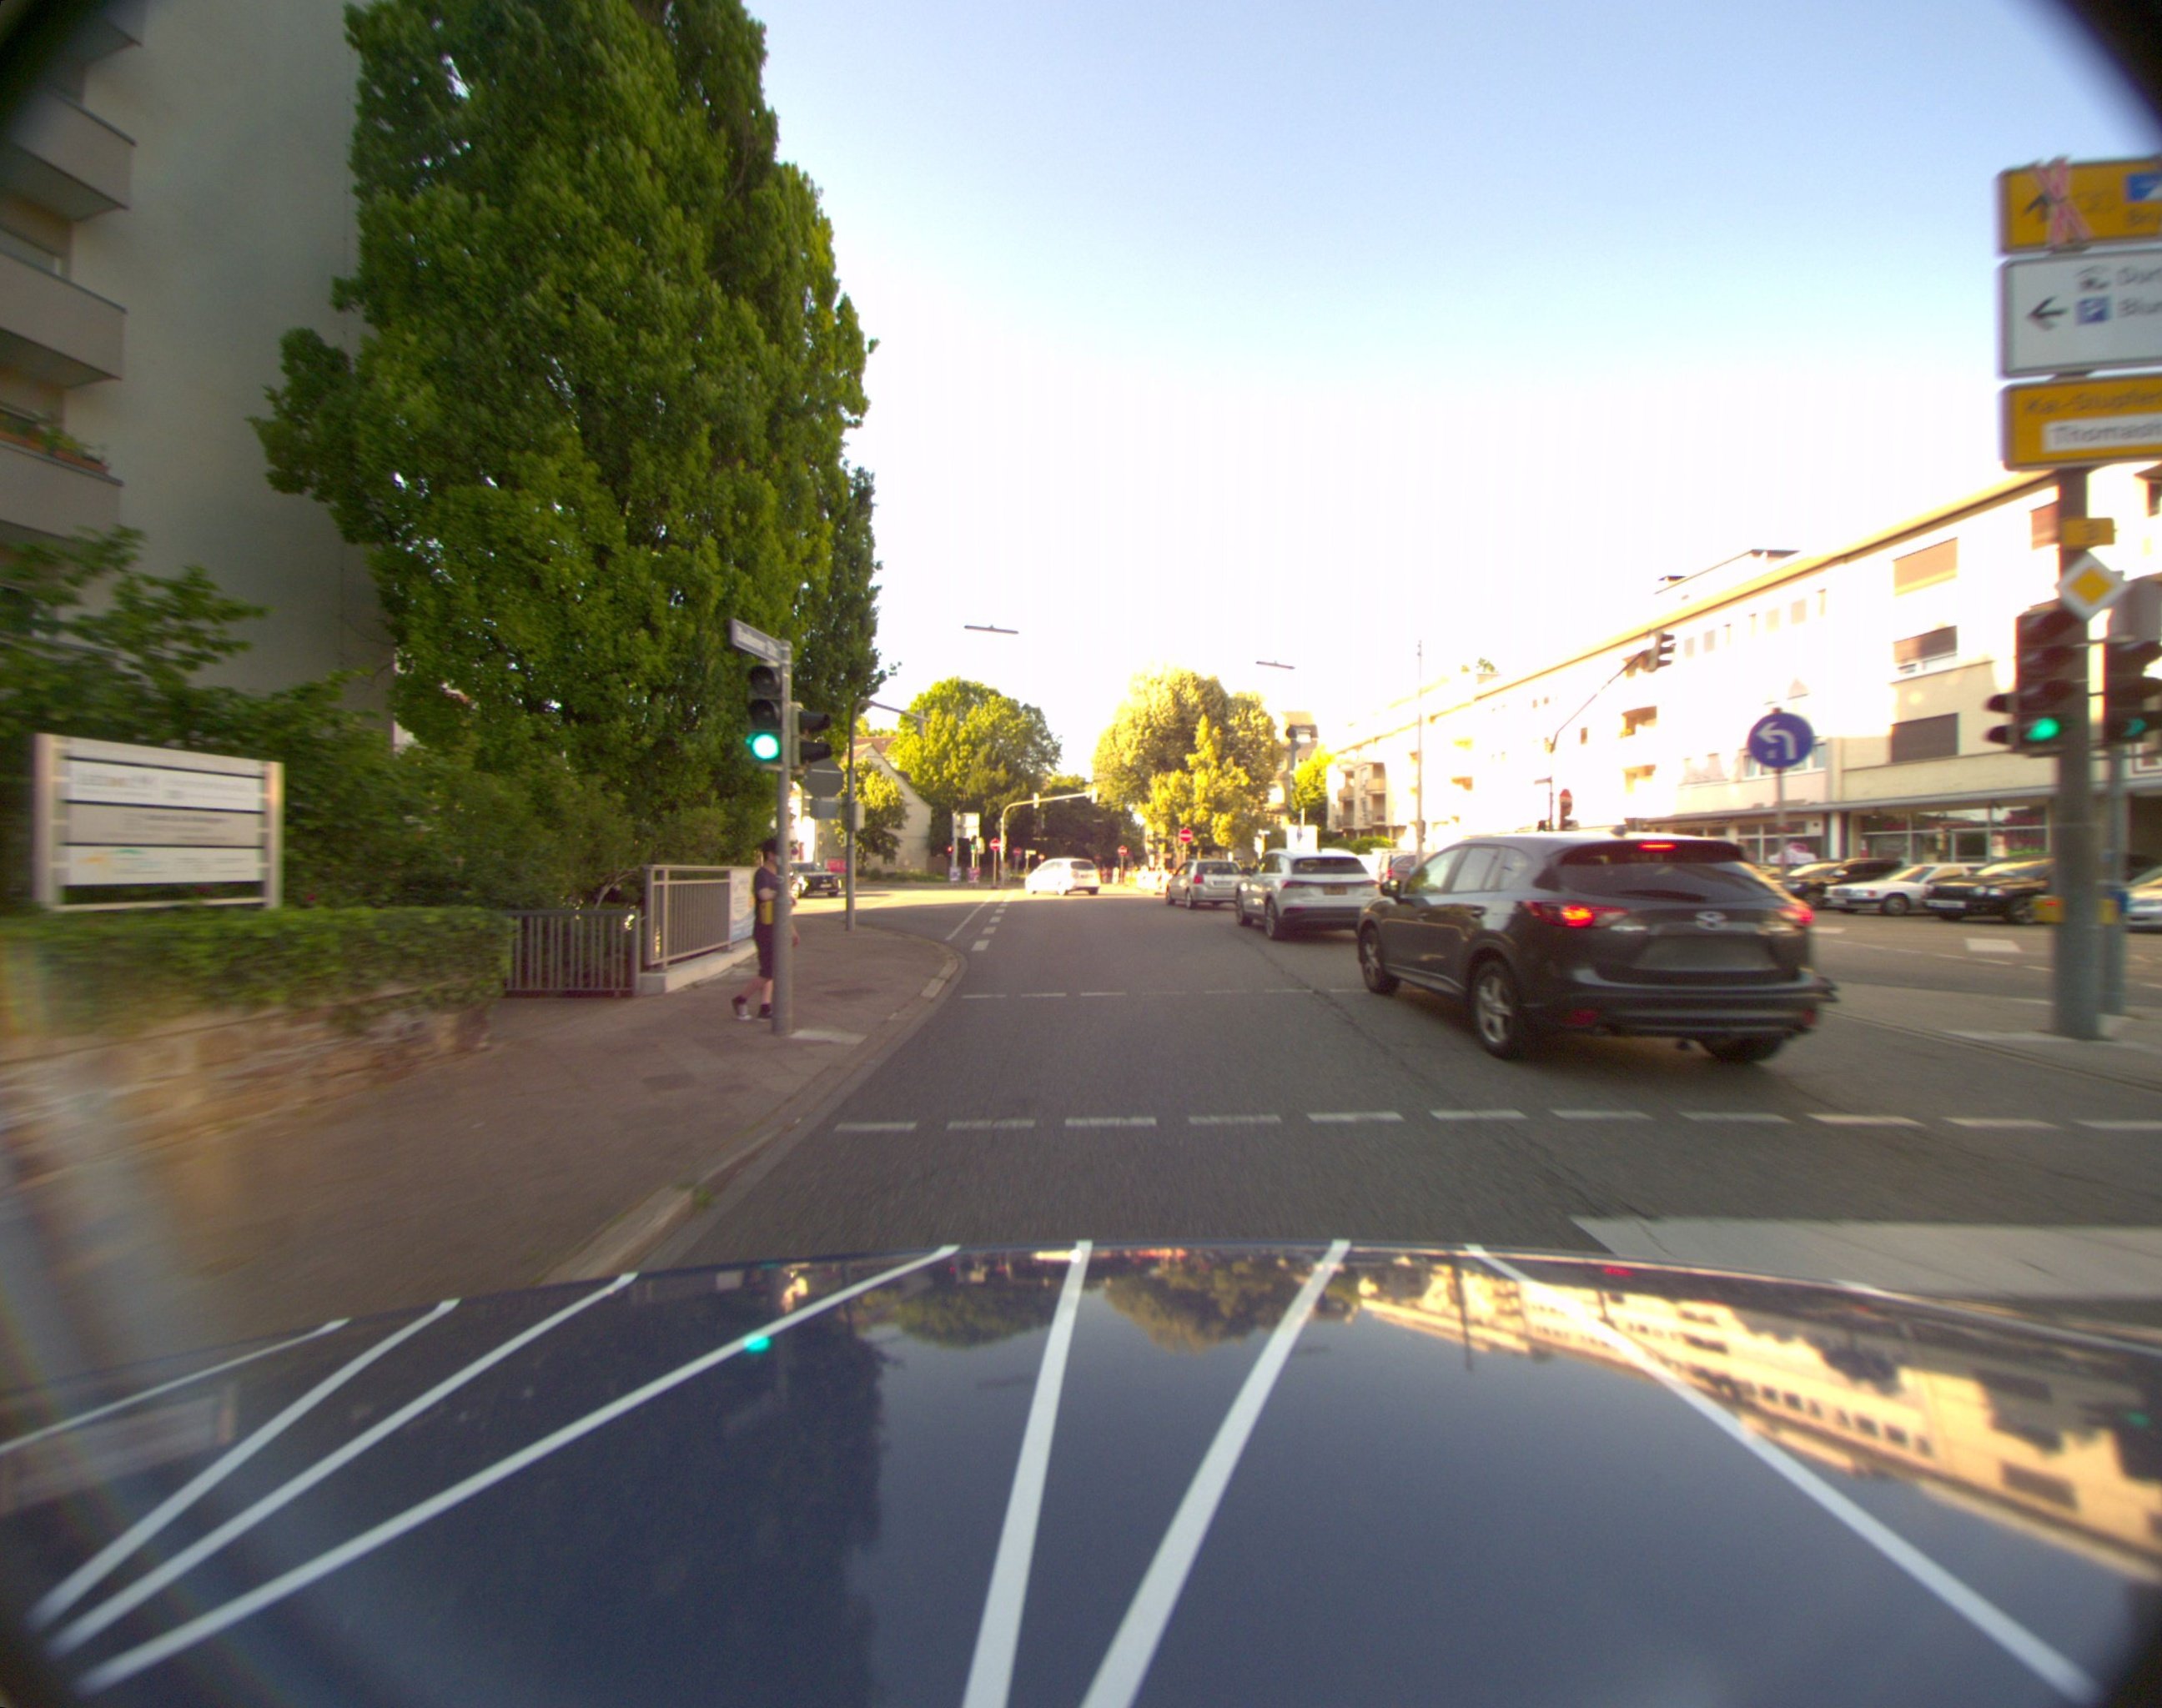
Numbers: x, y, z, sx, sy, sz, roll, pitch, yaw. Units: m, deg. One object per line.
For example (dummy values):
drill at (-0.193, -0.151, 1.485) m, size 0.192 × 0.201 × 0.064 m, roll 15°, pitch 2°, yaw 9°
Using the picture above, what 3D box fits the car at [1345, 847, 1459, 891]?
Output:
car at (14.535, 0.676, 34.631) m, size 4.324 × 1.840 × 2.001 m, roll -1°, pitch -1°, yaw 2°

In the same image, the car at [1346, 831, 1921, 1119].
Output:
car at (3.932, 0.744, 6.544) m, size 1.958 × 1.639 × 4.285 m, roll -1°, pitch -1°, yaw 3°

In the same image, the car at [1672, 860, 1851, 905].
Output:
car at (23.324, 0.960, 26.169) m, size 4.324 × 1.390 × 2.000 m, roll -1°, pitch -1°, yaw 1°

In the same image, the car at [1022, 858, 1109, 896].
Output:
car at (-0.736, 1.005, 33.425) m, size 1.785 × 1.533 × 3.990 m, roll -1°, pitch -1°, yaw -37°

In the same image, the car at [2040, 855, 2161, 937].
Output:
car at (23.424, 0.809, 15.592) m, size 4.320 × 1.601 × 2.002 m, roll -1°, pitch -1°, yaw 13°

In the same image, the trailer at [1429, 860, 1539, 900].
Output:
trailer at (14.988, 0.954, 28.353) m, size 3.263 × 1.388 × 1.574 m, roll -1°, pitch -1°, yaw -3°

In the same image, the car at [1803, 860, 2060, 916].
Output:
car at (23.081, 0.915, 20.837) m, size 4.320 × 1.390 × 2.002 m, roll -1°, pitch -1°, yaw 13°

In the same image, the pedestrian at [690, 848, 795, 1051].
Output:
pedestrian at (-2.943, 0.800, 6.652) m, size 0.603 × 1.683 × 0.612 m, roll 1°, pitch 0°, yaw 2°

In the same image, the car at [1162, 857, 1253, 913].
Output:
car at (3.680, 0.886, 22.895) m, size 1.780 × 1.471 × 4.095 m, roll -1°, pitch -1°, yaw -4°

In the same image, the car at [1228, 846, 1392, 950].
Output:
car at (4.132, 0.741, 14.517) m, size 1.780 × 1.639 × 4.535 m, roll -1°, pitch -1°, yaw 1°

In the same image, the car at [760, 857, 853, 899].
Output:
car at (-12.341, 1.031, 34.047) m, size 4.650 × 1.661 × 2.004 m, roll -1°, pitch 2°, yaw 44°

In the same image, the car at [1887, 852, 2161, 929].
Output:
car at (22.834, 0.859, 18.273) m, size 4.320 × 1.704 × 2.002 m, roll -1°, pitch -1°, yaw 13°

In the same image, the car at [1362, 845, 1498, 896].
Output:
car at (14.478, 0.669, 31.699) m, size 4.680 × 1.953 × 2.117 m, roll -1°, pitch -1°, yaw -3°
